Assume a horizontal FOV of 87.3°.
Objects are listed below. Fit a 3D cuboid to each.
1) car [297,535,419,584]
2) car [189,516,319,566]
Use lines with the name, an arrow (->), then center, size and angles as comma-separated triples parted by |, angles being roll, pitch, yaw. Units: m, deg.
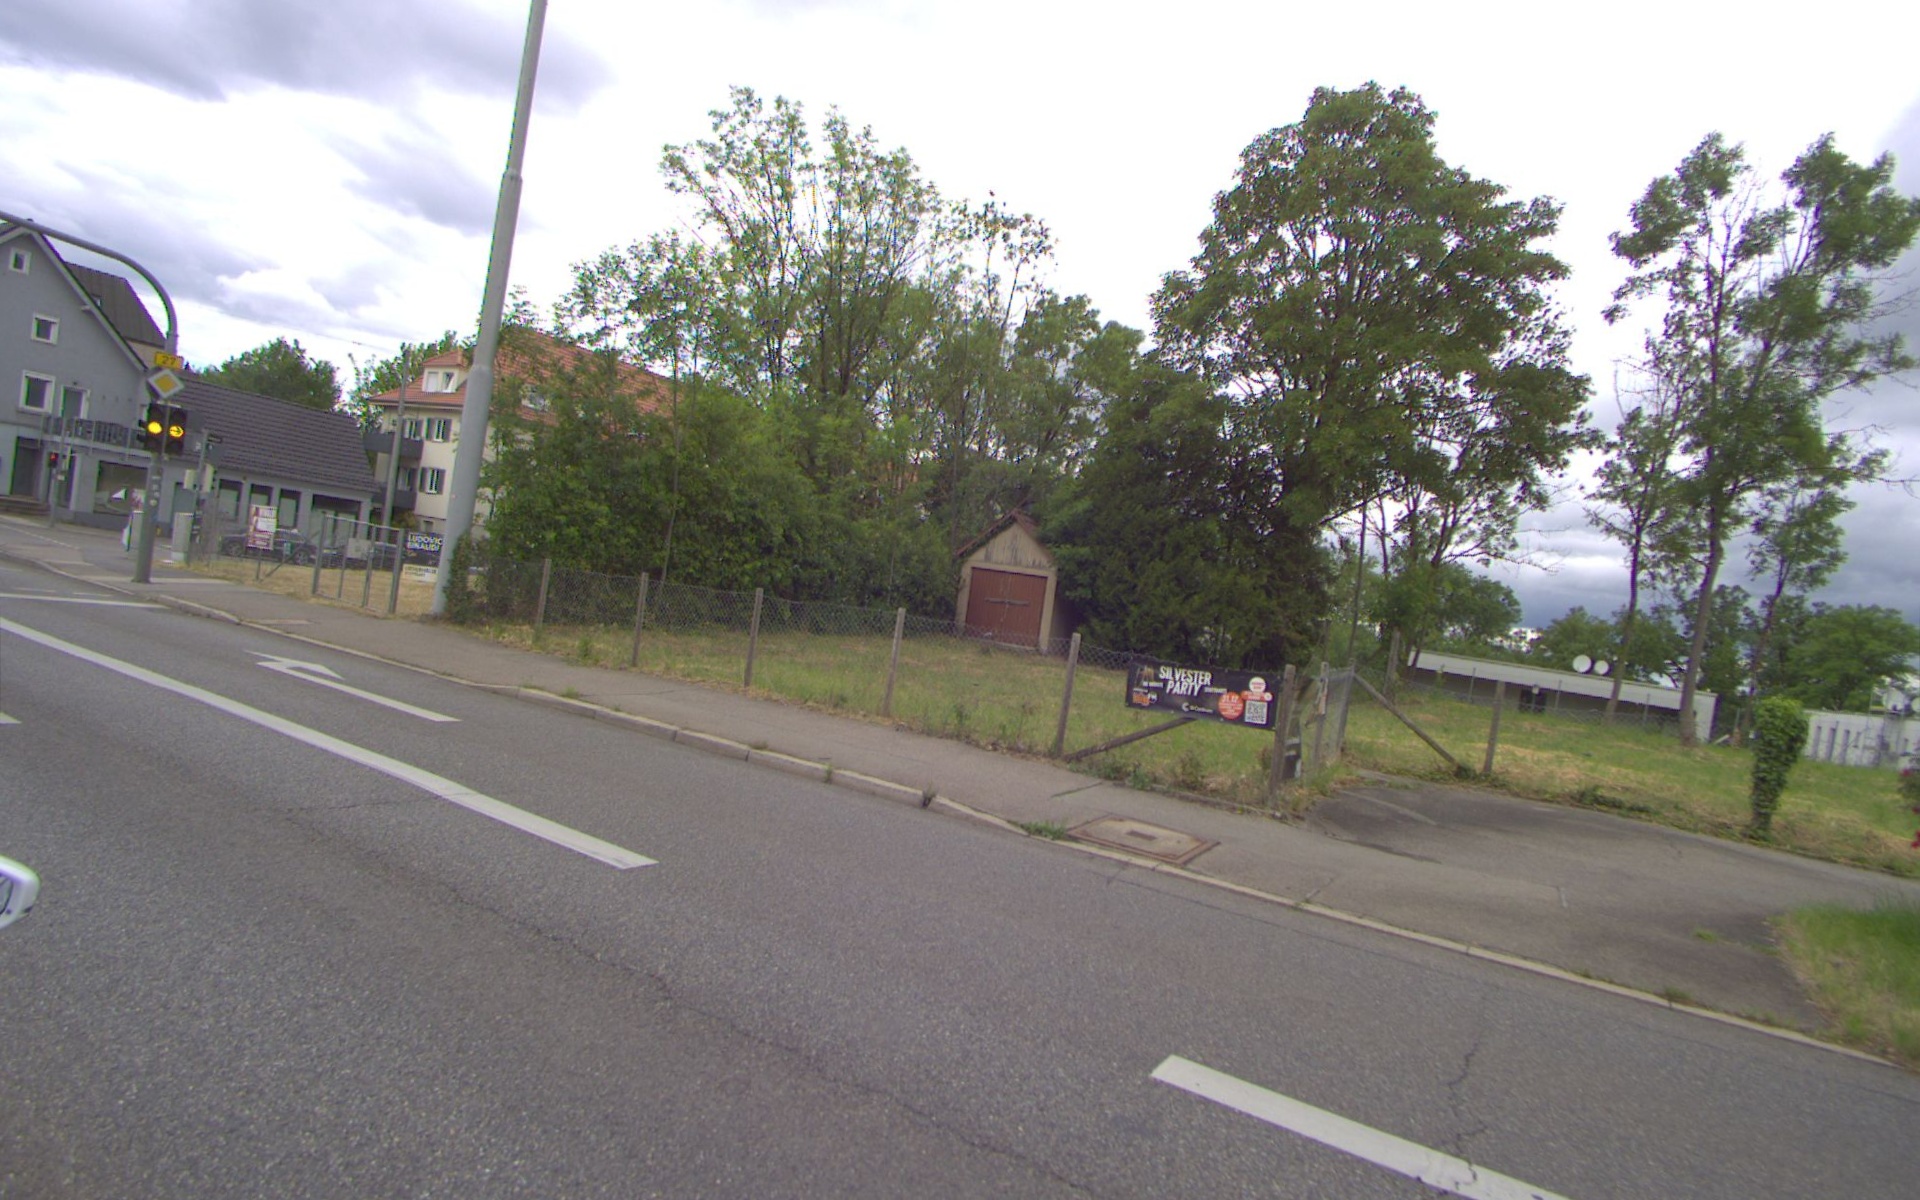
car -> -26.067, -1.736, 43.695 | 1.770, 1.387, 4.098 | 7, -2, 31
car -> -30.134, -2.505, 43.080 | 1.770, 1.387, 4.098 | 7, -2, 31
